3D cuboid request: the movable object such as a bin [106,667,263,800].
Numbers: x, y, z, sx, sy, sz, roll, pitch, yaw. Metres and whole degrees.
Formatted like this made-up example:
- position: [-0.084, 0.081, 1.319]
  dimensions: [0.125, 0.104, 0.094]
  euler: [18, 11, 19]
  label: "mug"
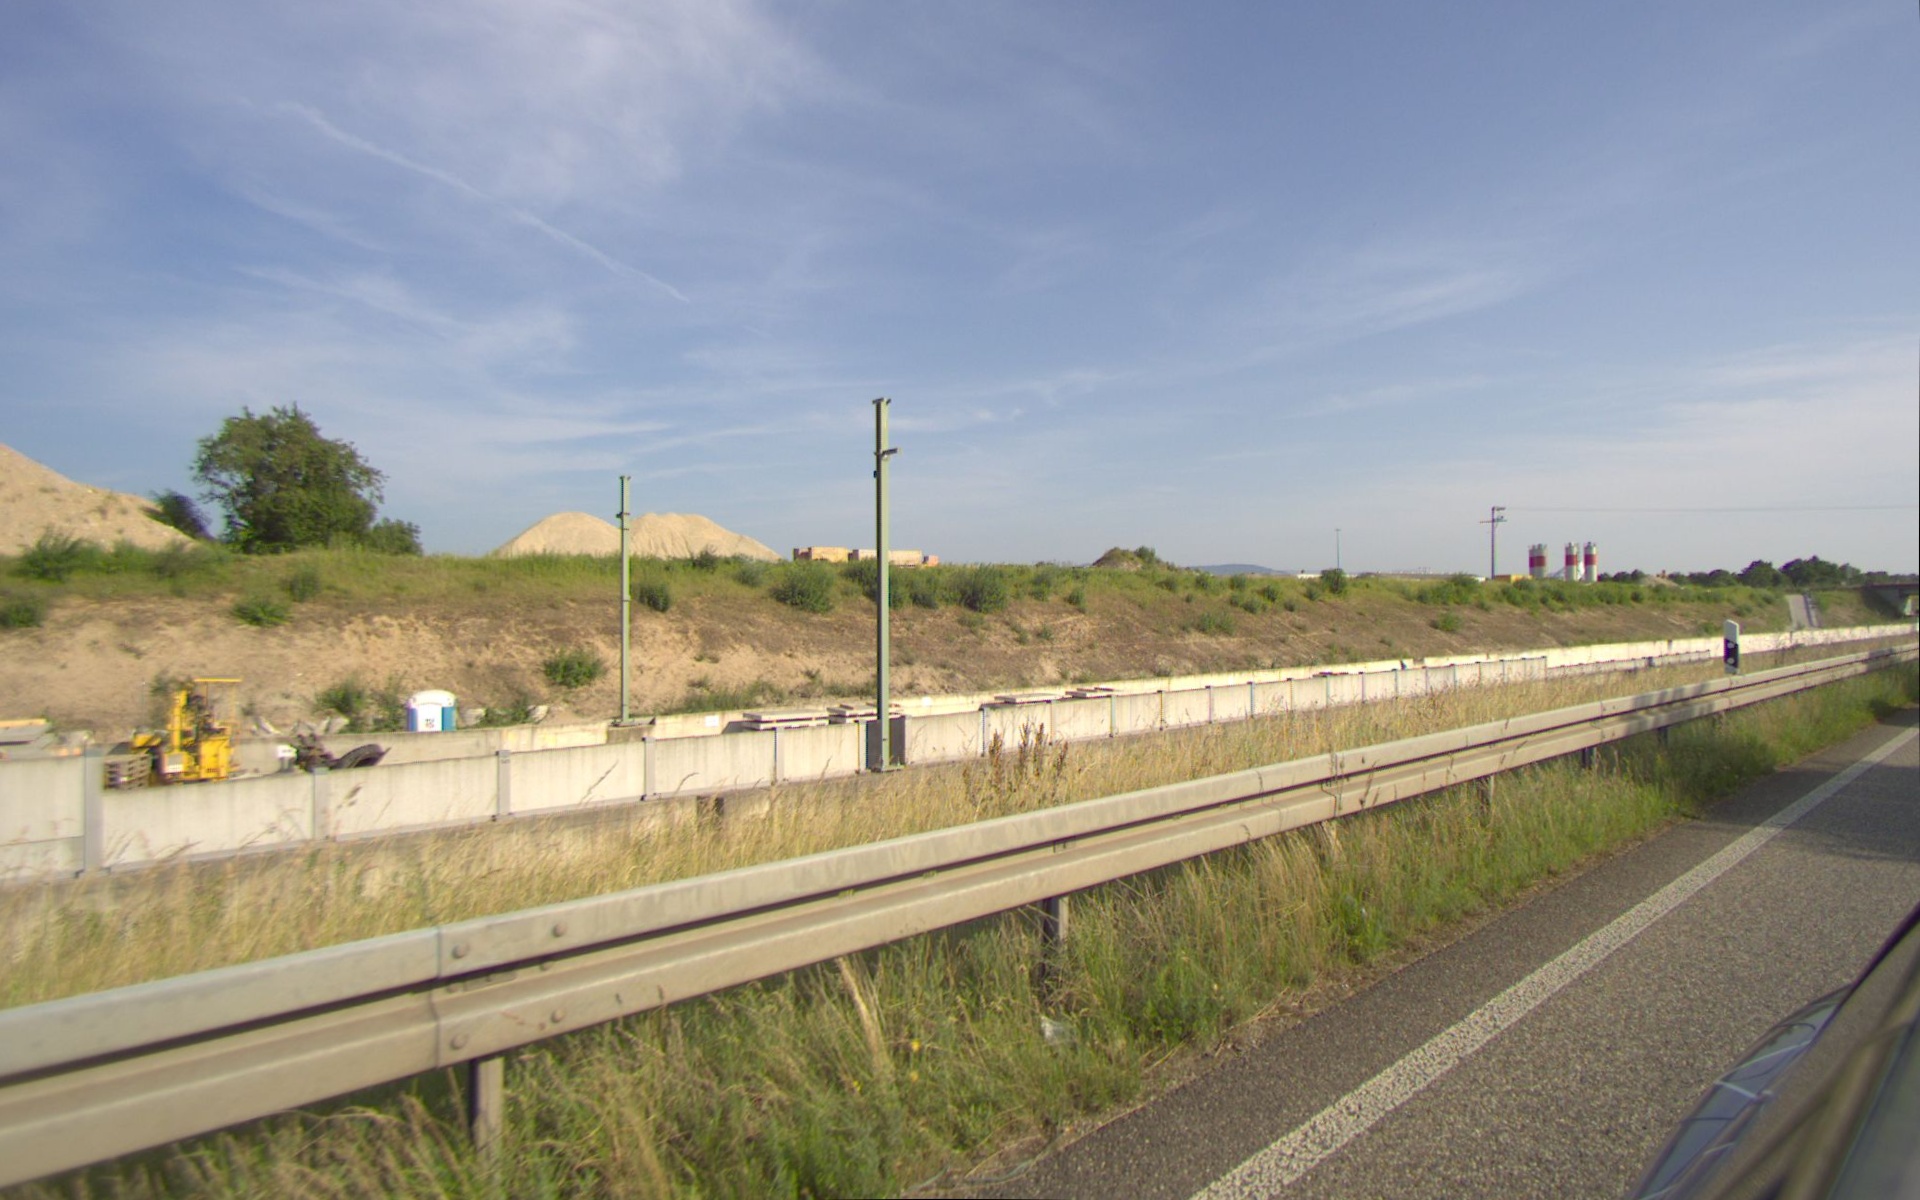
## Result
- position: [-18.257, 3.059, 23.983]
  dimensions: [1.977, 2.695, 2.919]
  euler: [0, 0, -15]
  label: "movable object such as a bin"
